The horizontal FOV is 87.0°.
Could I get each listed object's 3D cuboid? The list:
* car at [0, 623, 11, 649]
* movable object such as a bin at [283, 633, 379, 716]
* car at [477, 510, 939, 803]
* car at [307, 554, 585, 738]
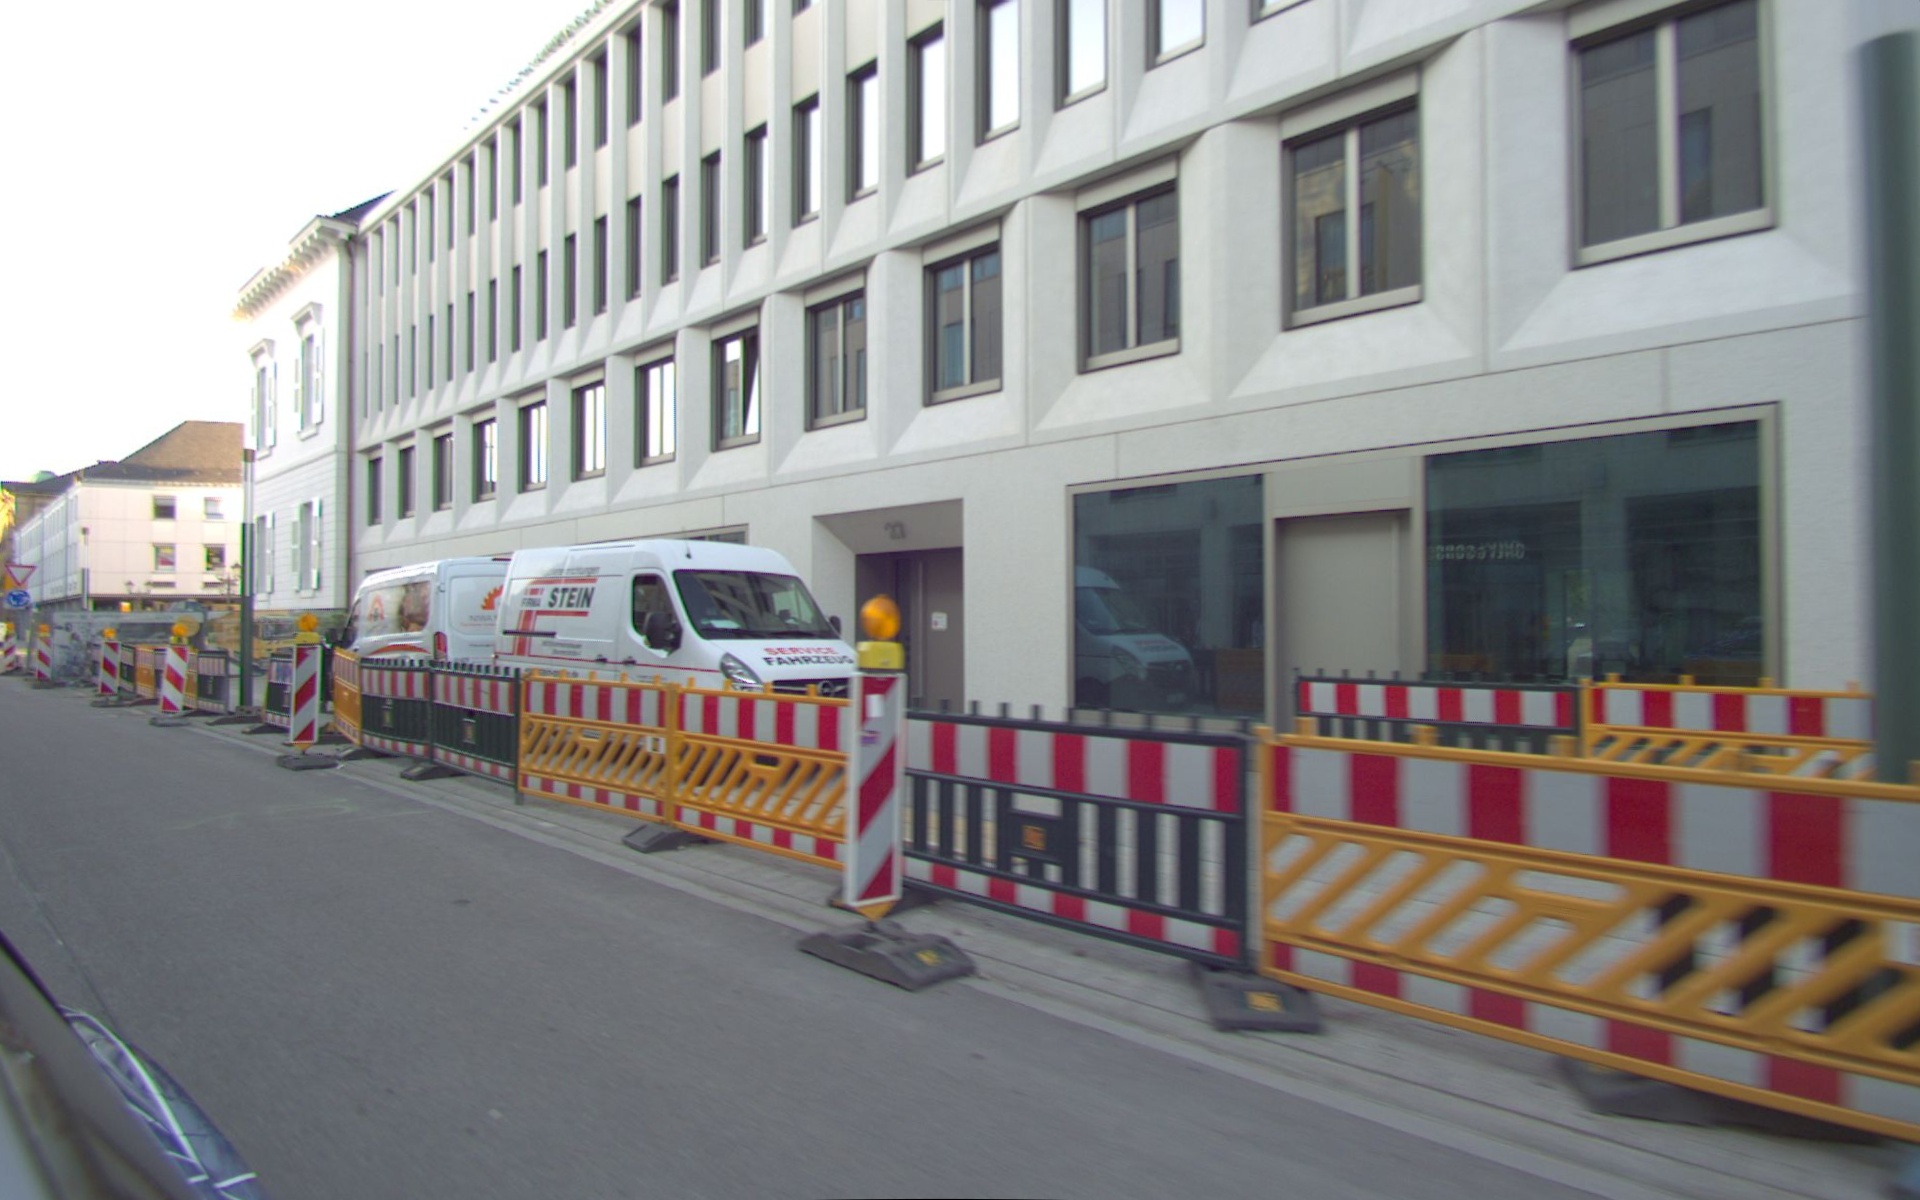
[{"bbox_3d":[-70.052,2.610,72.721,4.452,1.839,1.997,-1,-2,37],"label":"car"},{"bbox_3d":[-11.836,1.373,19.055,1.389,1.477,1.036,-1,-1,31],"label":"movable object such as a bin"},{"bbox_3d":[-3.140,0.544,11.447,5.999,2.489,2.150,-2,-2,43],"label":"car"},{"bbox_3d":[-8.576,0.684,16.545,5.999,2.489,2.150,-2,-2,43],"label":"car"}]
